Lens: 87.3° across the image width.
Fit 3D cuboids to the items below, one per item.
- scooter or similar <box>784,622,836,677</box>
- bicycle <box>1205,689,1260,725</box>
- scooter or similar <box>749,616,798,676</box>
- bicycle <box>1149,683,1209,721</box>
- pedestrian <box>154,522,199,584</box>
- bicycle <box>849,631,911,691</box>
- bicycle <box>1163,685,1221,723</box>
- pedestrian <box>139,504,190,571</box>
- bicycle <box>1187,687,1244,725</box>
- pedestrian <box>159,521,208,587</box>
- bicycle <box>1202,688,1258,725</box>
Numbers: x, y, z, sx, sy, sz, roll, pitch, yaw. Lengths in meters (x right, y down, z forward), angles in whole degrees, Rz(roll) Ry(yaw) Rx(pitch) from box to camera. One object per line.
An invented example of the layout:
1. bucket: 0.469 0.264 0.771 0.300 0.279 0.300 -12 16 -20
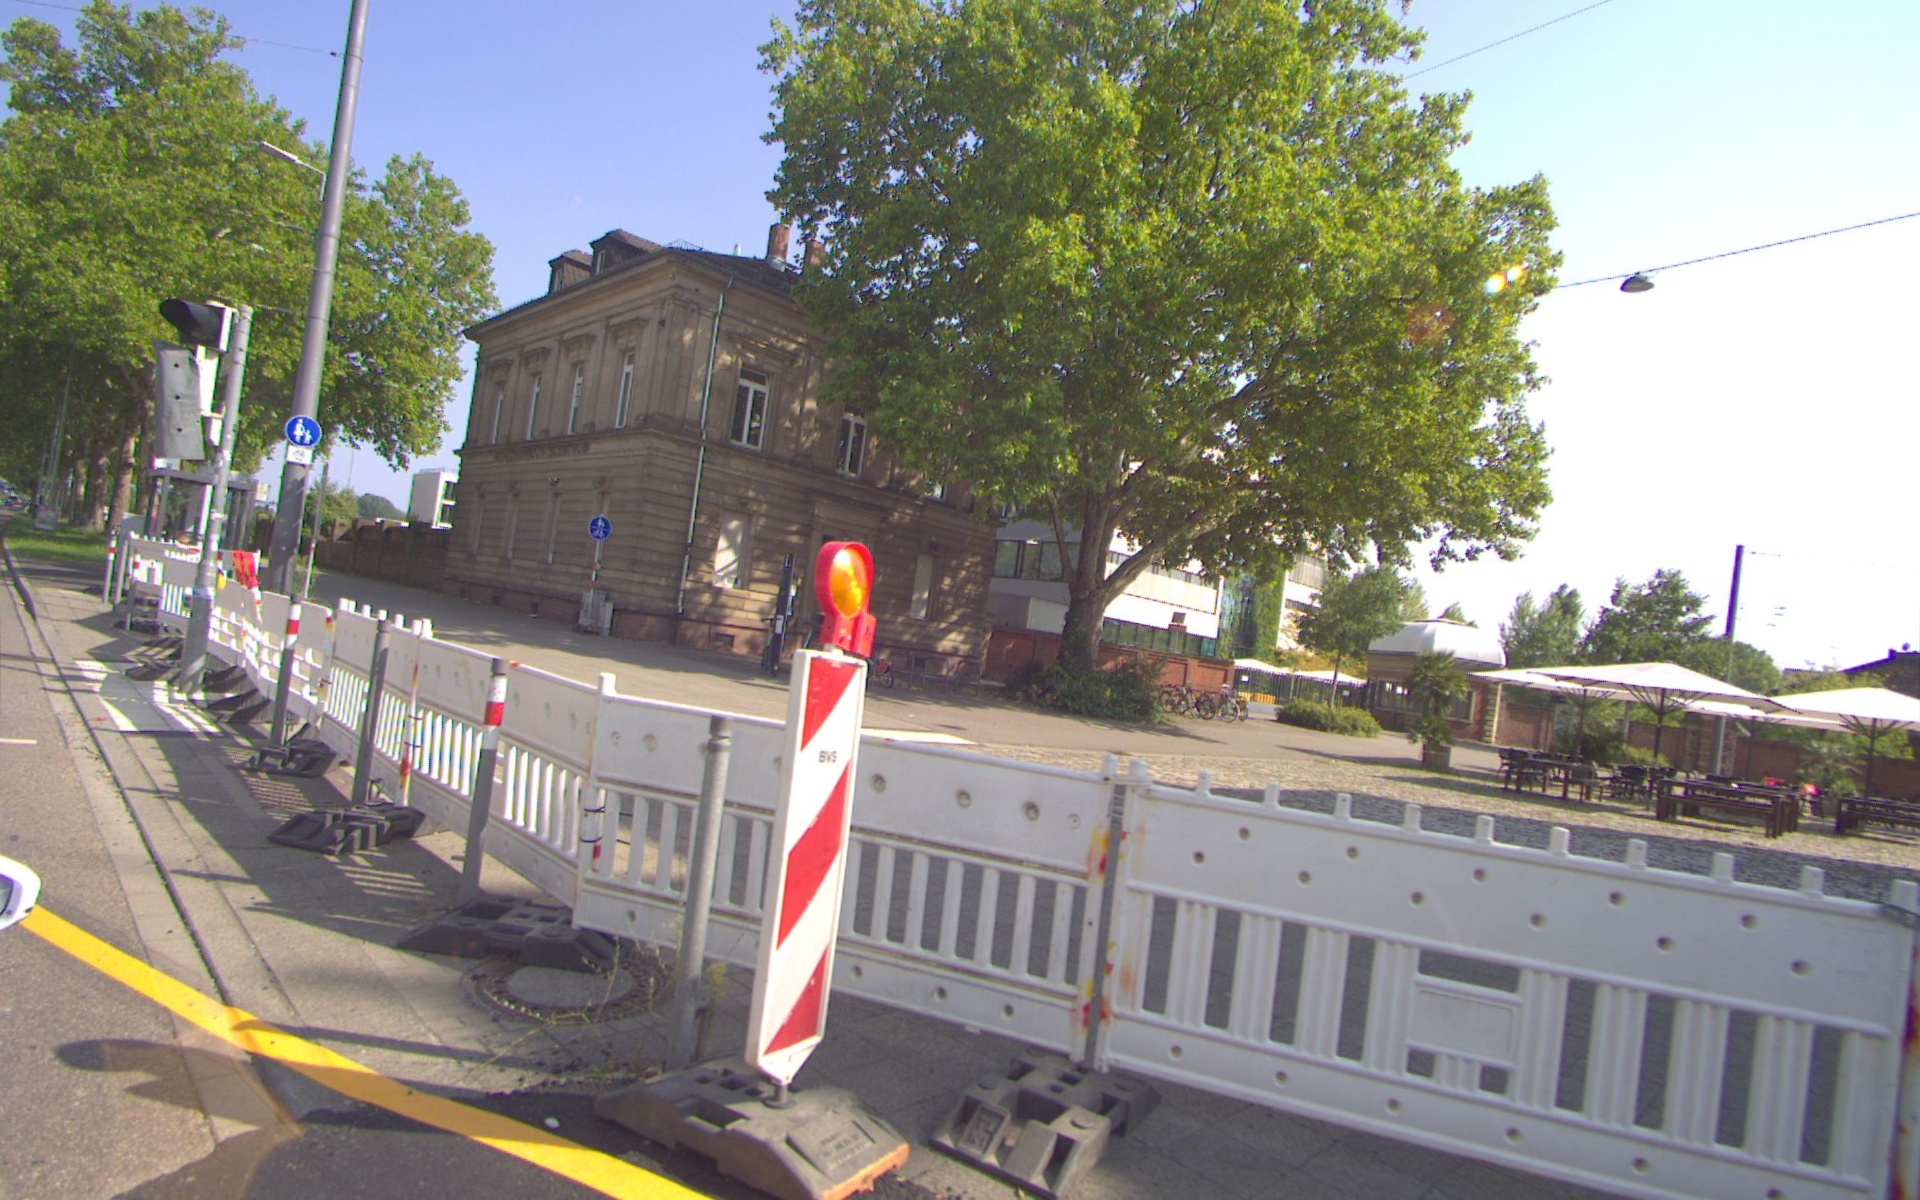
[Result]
1. scooter or similar: -3.482 1.165 23.416 0.308 1.146 1.090 8 -1 43
2. bicycle: 9.535 3.726 35.261 0.565 0.910 1.777 9 1 -35
3. scooter or similar: -4.158 1.012 22.346 0.407 1.180 1.213 8 -1 -39
4. bicycle: 6.948 3.236 31.957 0.643 0.870 1.777 9 1 -36
5. pedestrian: -17.006 -1.017 21.833 0.567 1.233 0.607 7 0 44
6. bicycle: -1.911 1.437 23.914 0.496 1.180 1.611 8 -1 -39
7. bicycle: 7.478 3.348 32.480 0.565 0.870 1.777 9 1 -35
8. pedestrian: -21.221 -1.662 26.857 0.877 1.644 0.814 9 -1 -37
9. bicycle: 8.387 3.476 33.063 0.565 0.870 1.777 9 1 -35
10. pedestrian: -16.428 -0.976 21.275 0.749 1.293 0.607 7 0 44
11. bicycle: 9.277 3.661 34.603 0.565 0.910 1.777 9 1 -35
